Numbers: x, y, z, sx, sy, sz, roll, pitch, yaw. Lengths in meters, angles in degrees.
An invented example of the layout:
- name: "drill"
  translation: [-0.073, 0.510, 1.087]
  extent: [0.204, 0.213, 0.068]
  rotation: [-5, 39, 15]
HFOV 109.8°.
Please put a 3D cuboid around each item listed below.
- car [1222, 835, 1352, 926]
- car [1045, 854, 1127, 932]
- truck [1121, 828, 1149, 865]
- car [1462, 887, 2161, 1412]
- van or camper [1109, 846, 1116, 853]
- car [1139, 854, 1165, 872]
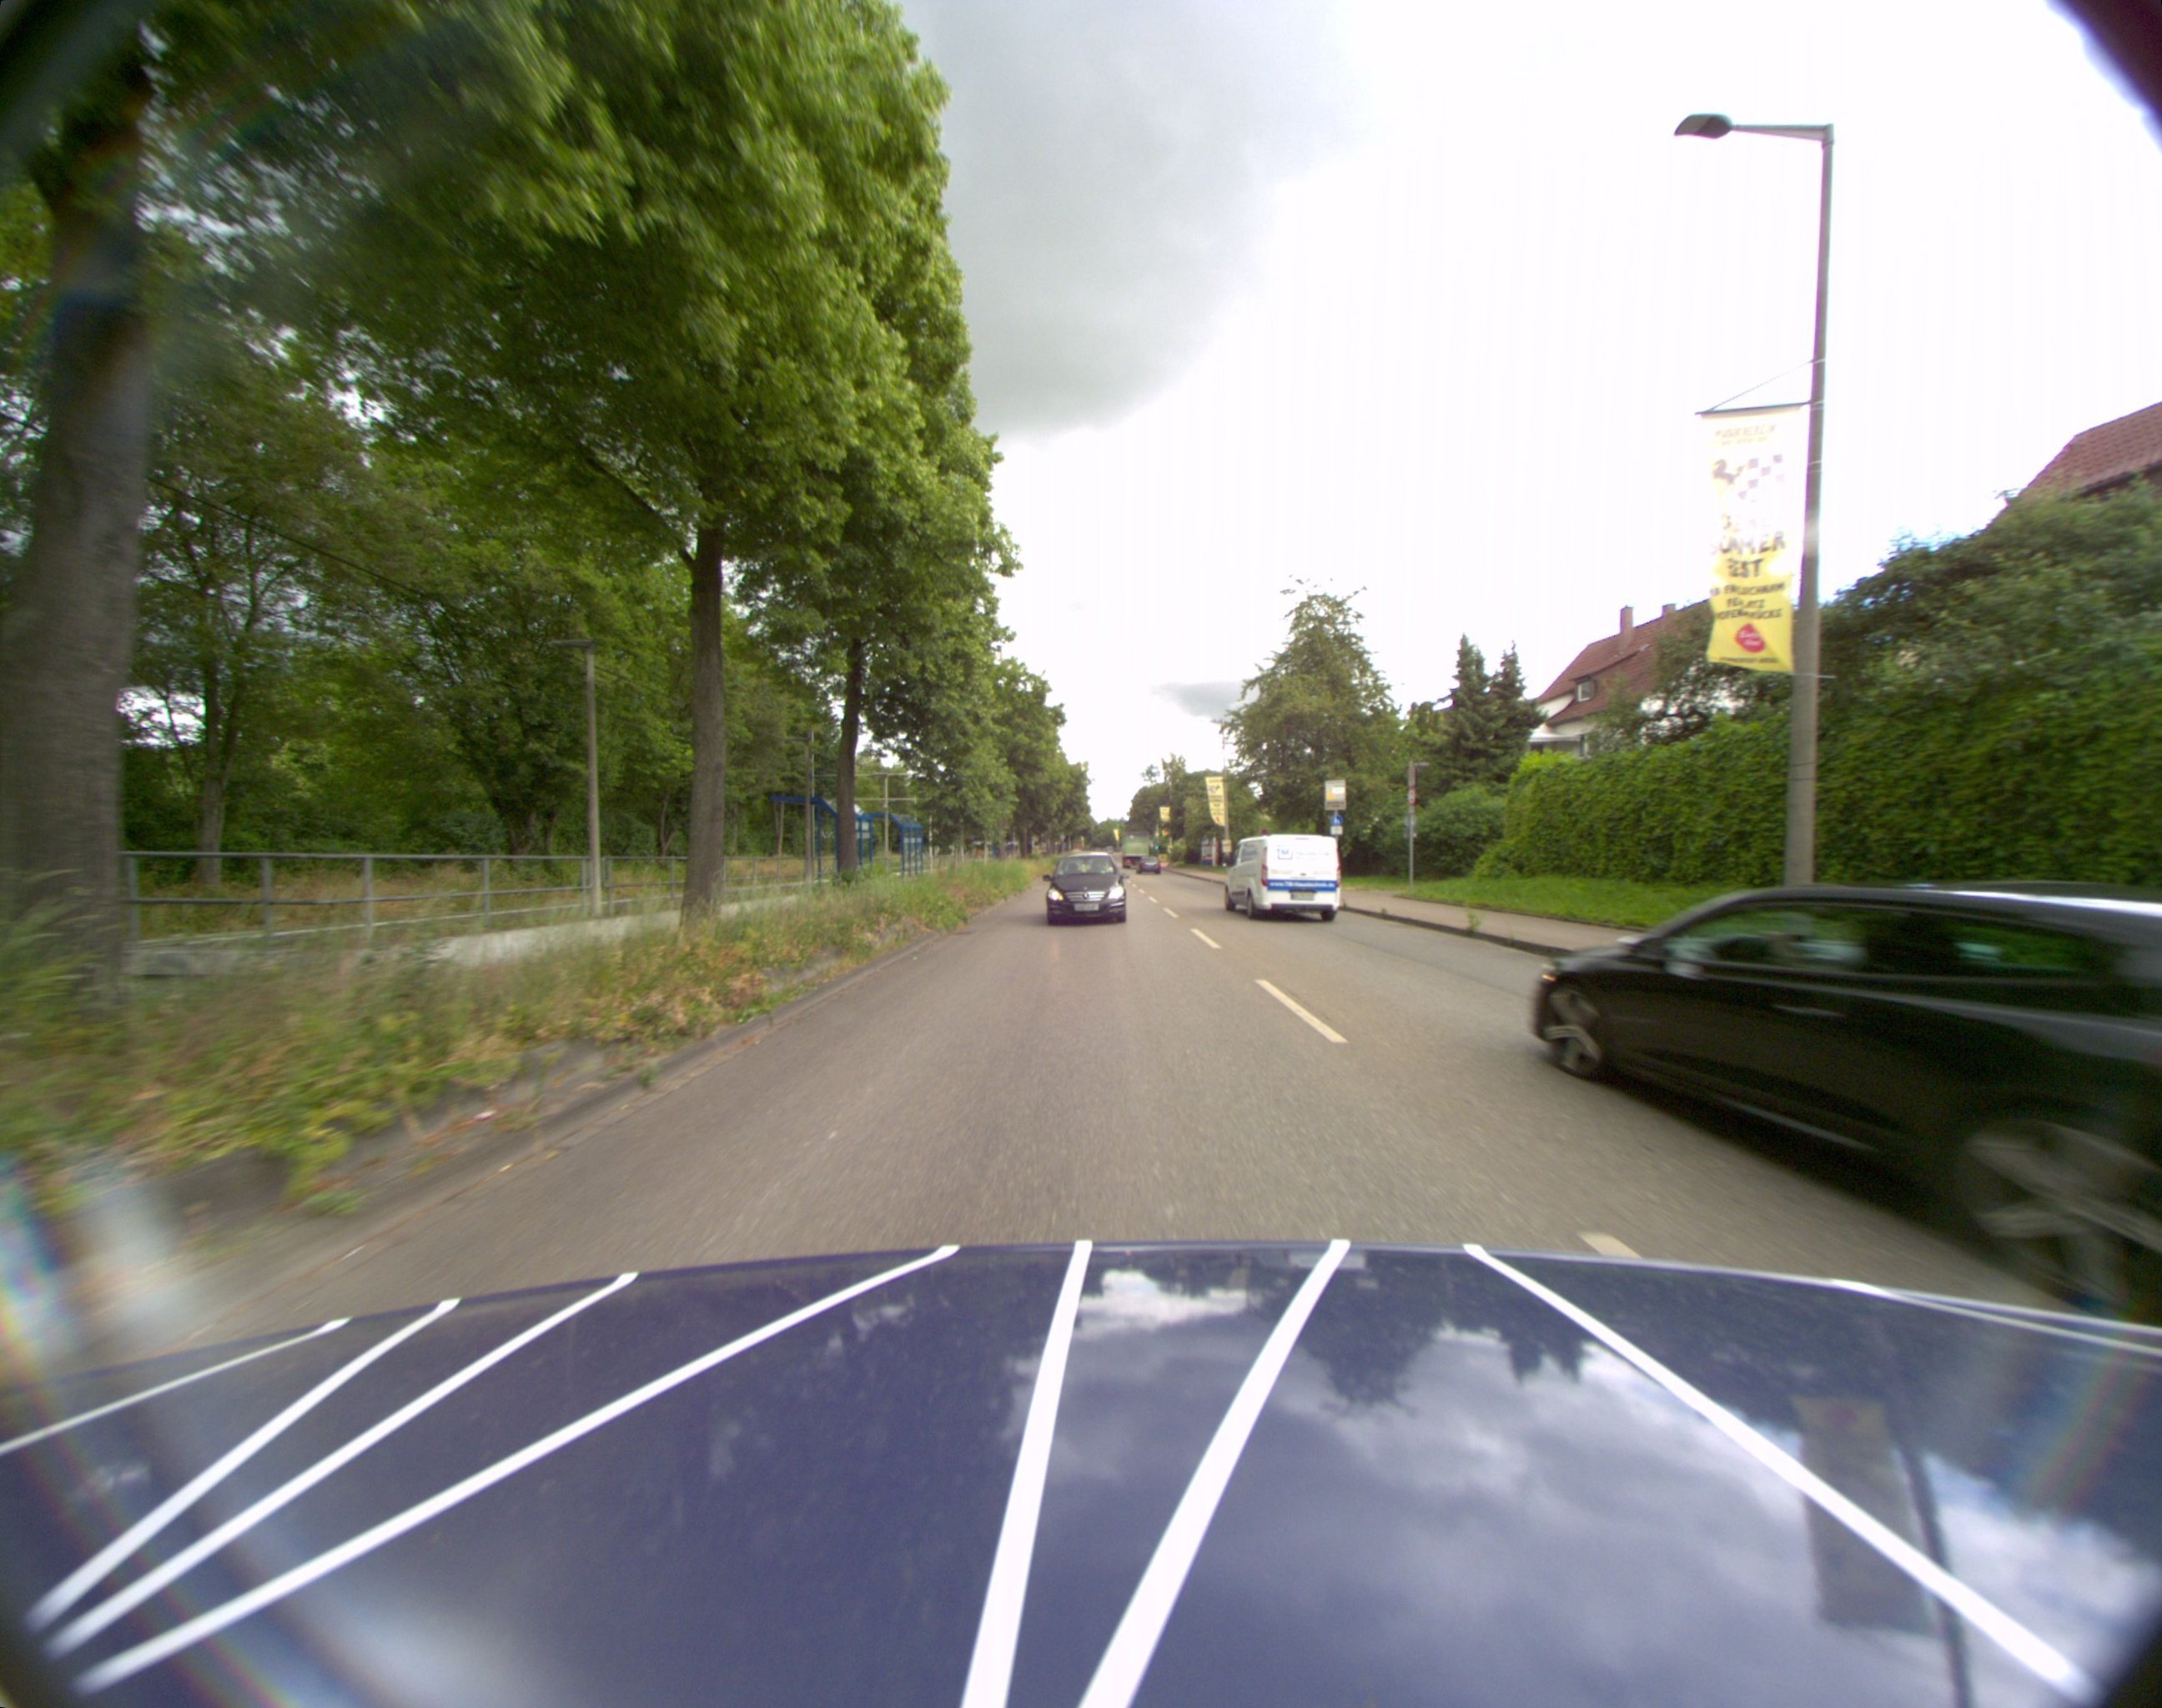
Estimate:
- name: "car"
  translation: [4.907, 0.595, 18.893]
  extent: [1.911, 1.921, 4.911]
  rotation: [1, 0, 1]
- name: "car"
  translation: [0.129, 0.826, 18.316]
  extent: [1.683, 1.565, 4.482]
  rotation: [-2, 0, 1]
- name: "truck"
  translation: [6.174, -0.886, 88.237]
  extent: [2.556, 4.020, 10.618]
  rotation: [1, 1, 0]
- name: "car"
  translation: [4.048, 0.967, 4.246]
  extent: [1.655, 1.340, 4.478]
  rotation: [0, 0, 1]
- name: "van or camper"
  translation: [9.190, -1.339, 223.610]
  extent: [1.917, 1.888, 4.811]
  rotation: [0, 0, 1]
- name: "car"
  translation: [5.823, 0.712, 62.438]
  extent: [1.737, 1.367, 4.239]
  rotation: [1, 0, 1]
